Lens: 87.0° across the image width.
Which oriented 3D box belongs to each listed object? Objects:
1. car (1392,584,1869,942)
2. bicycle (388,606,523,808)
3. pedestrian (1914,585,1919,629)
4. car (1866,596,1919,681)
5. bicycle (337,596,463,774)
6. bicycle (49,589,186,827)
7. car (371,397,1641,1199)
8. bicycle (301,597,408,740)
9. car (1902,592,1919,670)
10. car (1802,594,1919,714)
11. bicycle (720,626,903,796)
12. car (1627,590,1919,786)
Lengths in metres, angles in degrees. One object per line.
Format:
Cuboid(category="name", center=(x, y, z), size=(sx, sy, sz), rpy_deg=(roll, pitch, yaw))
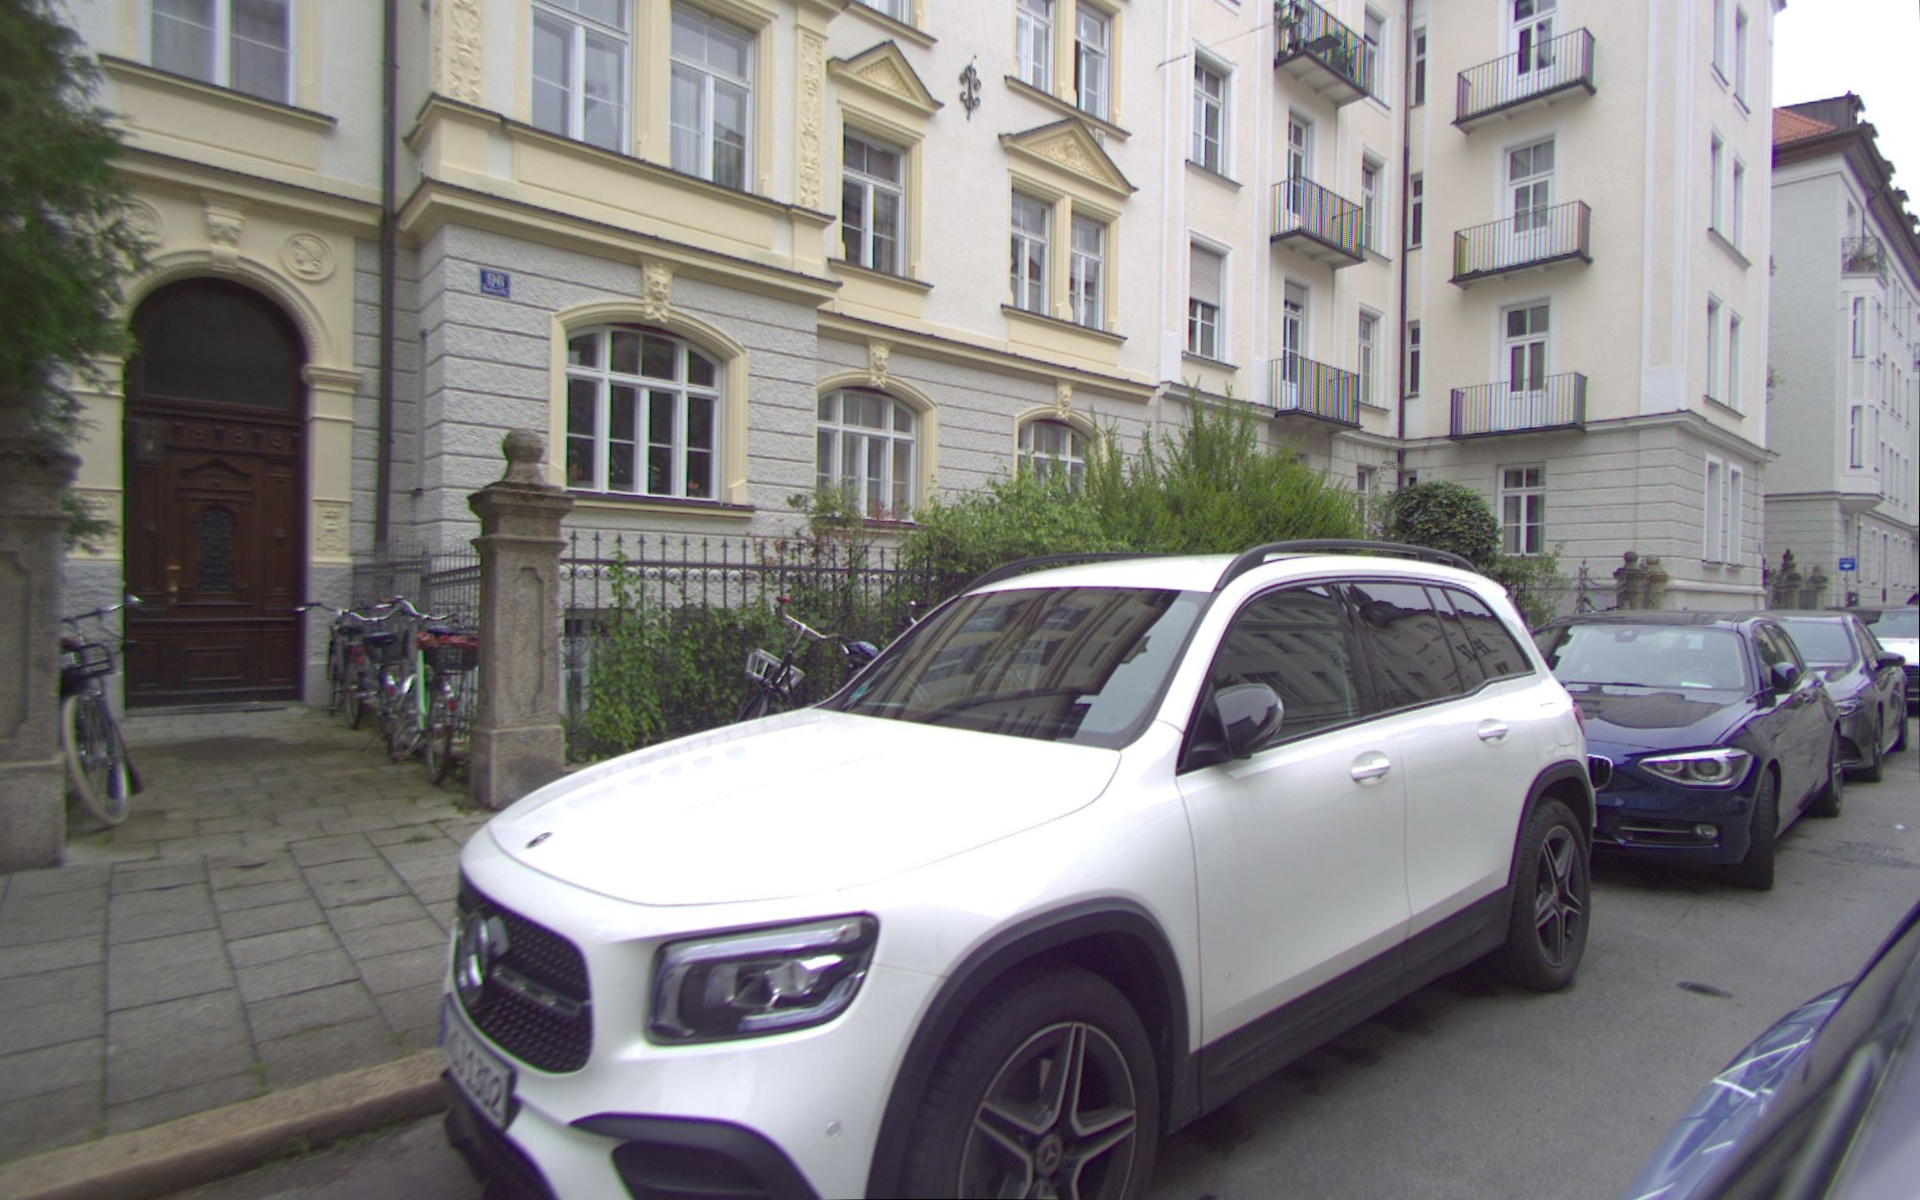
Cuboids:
Cuboid(category="car", center=(4.688, 0.773, 6.775), size=(4.350, 1.631, 1.751), rpy_deg=(1, -1, -44))
Cuboid(category="bicycle", center=(-3.239, 0.619, 6.449), size=(0.448, 1.112, 1.311), rpy_deg=(0, 1, -41))
Cuboid(category="pedestrian", center=(40.676, 0.300, 42.374), size=(1.091, 1.836, 0.885), rpy_deg=(1, 0, -39))
Cuboid(category="car", center=(17.513, 0.649, 17.916), size=(3.390, 1.424, 1.757), rpy_deg=(0, 0, -40))
Cuboid(category="bicycle", center=(-4.255, 0.569, 7.629), size=(0.481, 1.198, 1.702), rpy_deg=(0, 0, -41))
Cuboid(category="bicycle", center=(-4.922, 0.561, 5.887), size=(0.482, 1.214, 1.487), rpy_deg=(0, -1, -45))
Cuboid(category="car", center=(0.598, 0.610, 3.487), size=(4.334, 1.792, 1.726), rpy_deg=(0, -1, -40))
Cuboid(category="bicycle", center=(-5.469, 0.563, 9.103), size=(0.481, 1.122, 1.701), rpy_deg=(0, 1, -43))
Cuboid(category="car", center=(21.601, 0.630, 21.384), size=(4.320, 1.589, 1.826), rpy_deg=(1, -2, -38))
Cuboid(category="car", center=(13.515, 0.691, 14.340), size=(3.993, 1.523, 1.787), rpy_deg=(0, 0, -40))
Cuboid(category="bicycle", center=(-1.071, 0.768, 7.456), size=(1.291, 1.112, 0.455), rpy_deg=(0, 1, -42))
Cuboid(category="car", center=(8.012, 0.679, 9.823), size=(3.950, 1.523, 1.686), rpy_deg=(0, 0, -43))
